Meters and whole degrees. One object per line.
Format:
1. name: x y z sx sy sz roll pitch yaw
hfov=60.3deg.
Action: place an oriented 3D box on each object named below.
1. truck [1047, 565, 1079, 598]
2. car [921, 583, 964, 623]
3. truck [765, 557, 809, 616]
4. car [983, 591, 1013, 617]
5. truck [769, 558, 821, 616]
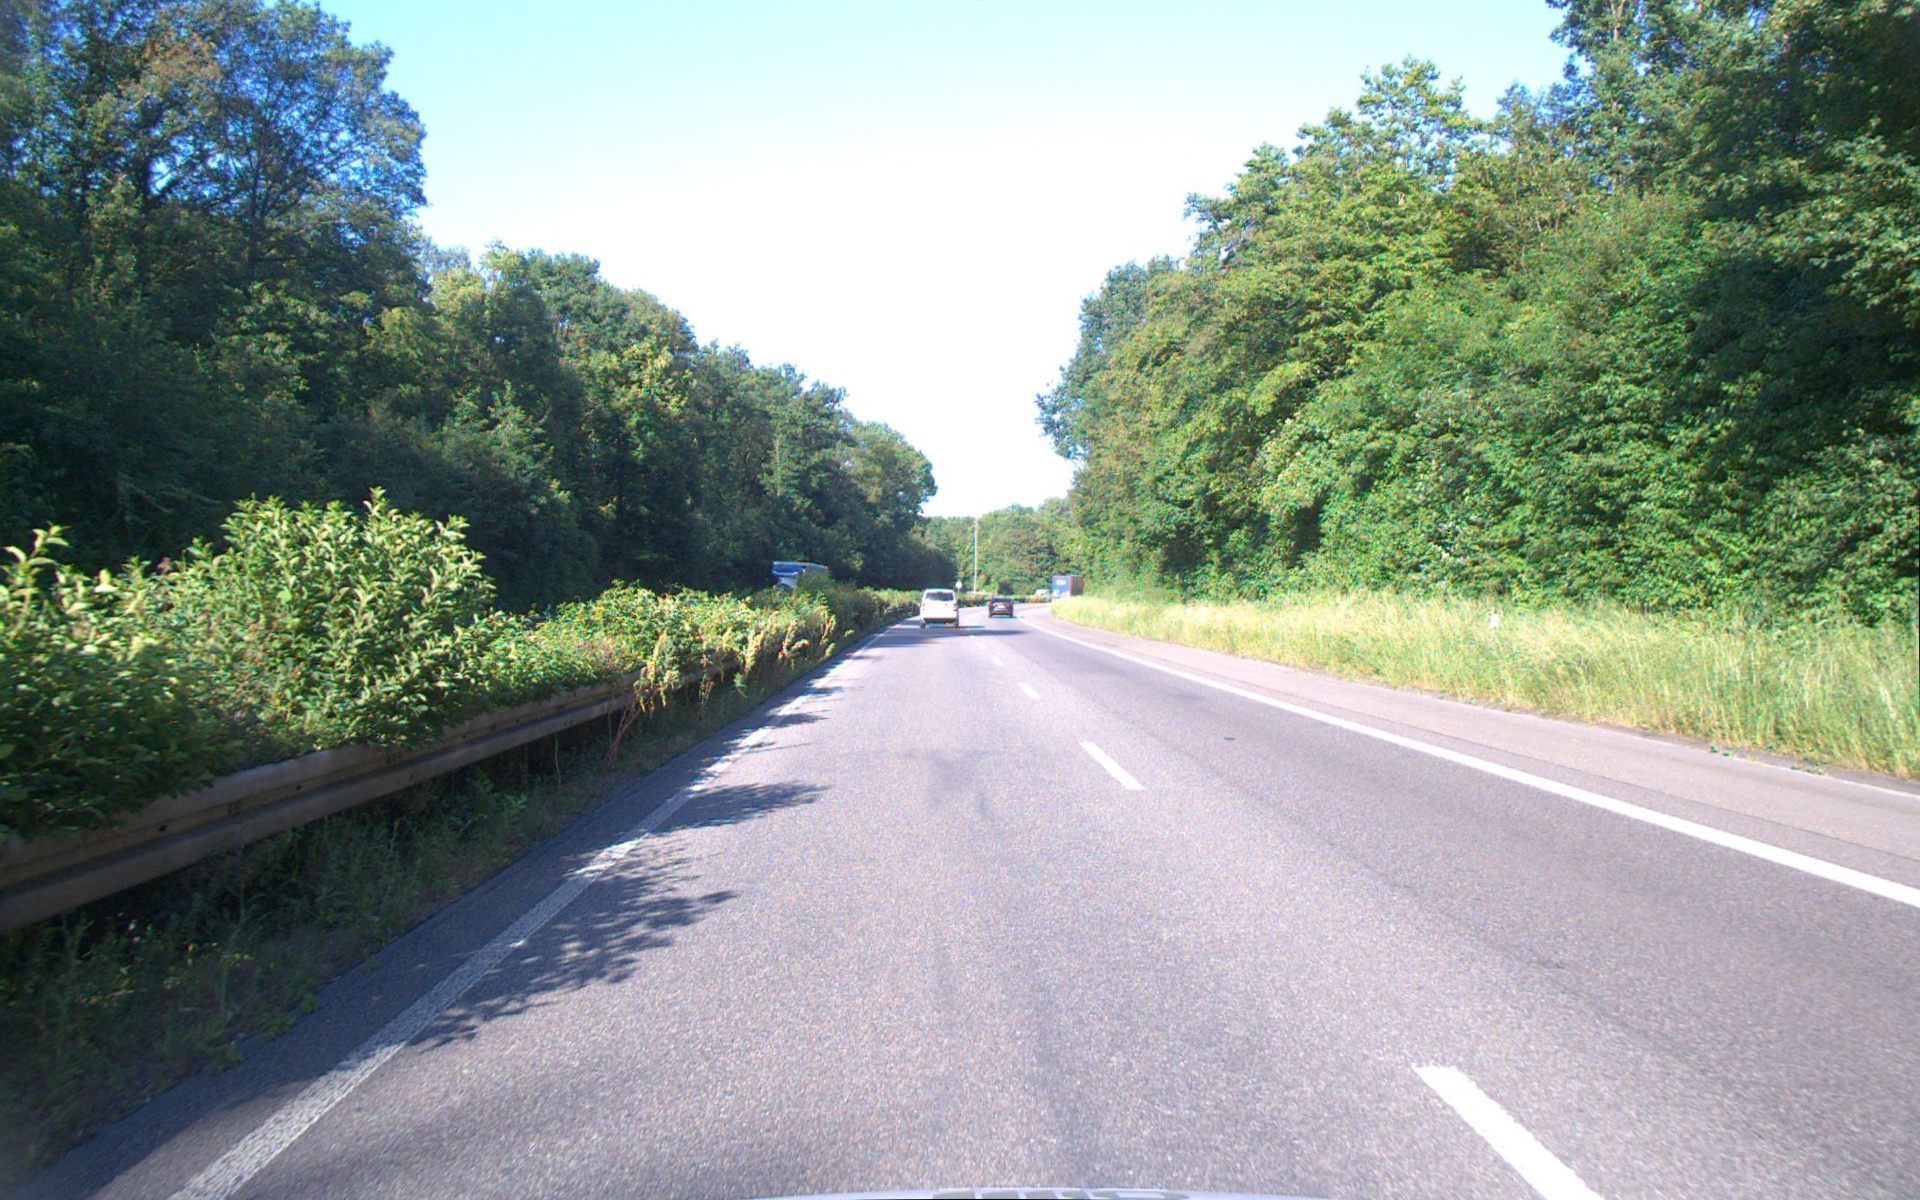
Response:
1. truck: 14.529 -2.582 231.965 3.655 4.419 9.311 1 0 8
2. car: -0.847 0.134 78.231 1.912 1.813 4.586 1 0 -2
3. truck: -12.647 -0.954 121.357 2.660 4.168 5.436 1 0 0
4. car: 2.680 0.318 119.007 1.912 1.813 4.586 1 0 -2
5. truck: -12.690 -0.926 128.482 2.652 4.168 14.019 1 0 0
